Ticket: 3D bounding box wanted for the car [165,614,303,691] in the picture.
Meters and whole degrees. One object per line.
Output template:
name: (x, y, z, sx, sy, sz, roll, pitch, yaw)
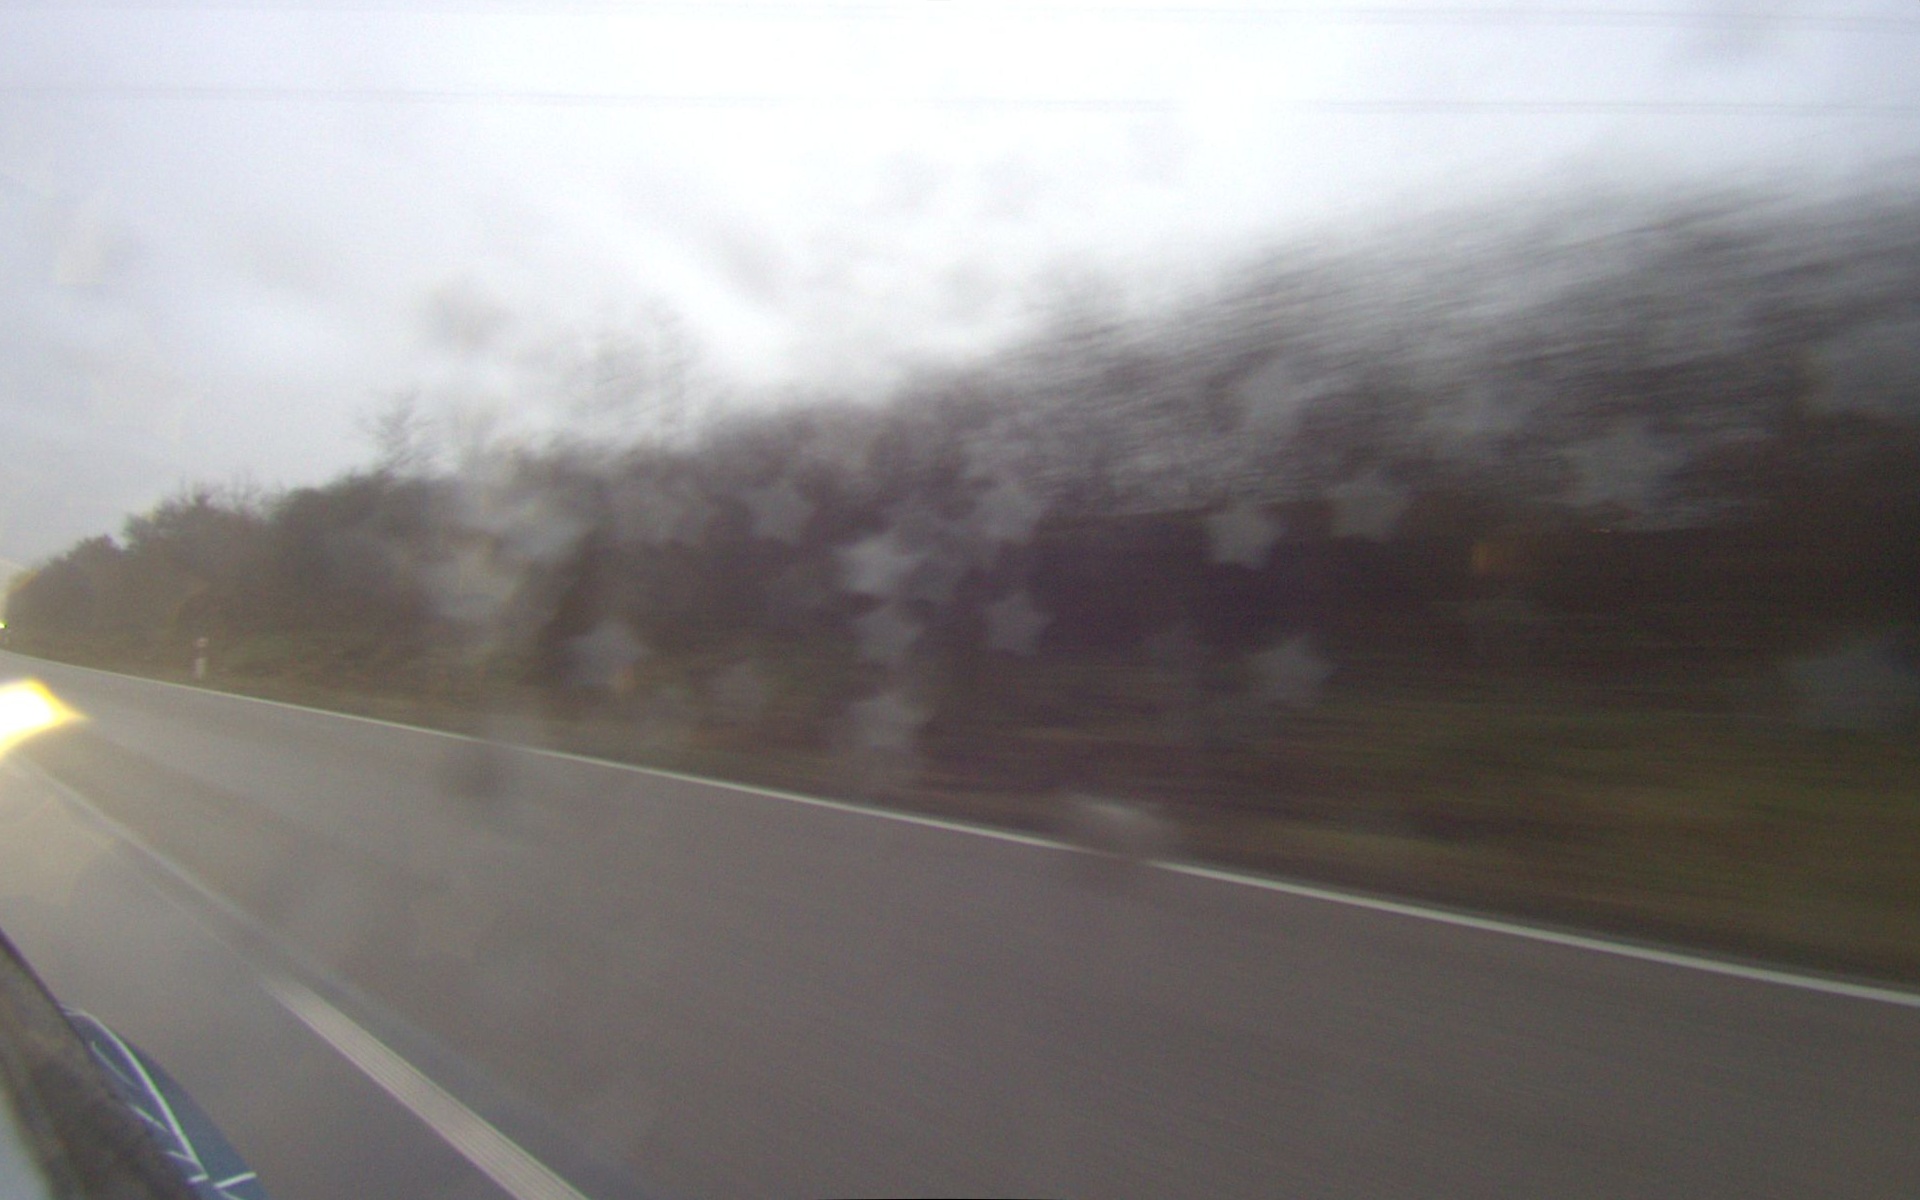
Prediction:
car: (-16.702, 1.158, 23.230, 3.772, 1.621, 1.757, -1, -2, 41)
